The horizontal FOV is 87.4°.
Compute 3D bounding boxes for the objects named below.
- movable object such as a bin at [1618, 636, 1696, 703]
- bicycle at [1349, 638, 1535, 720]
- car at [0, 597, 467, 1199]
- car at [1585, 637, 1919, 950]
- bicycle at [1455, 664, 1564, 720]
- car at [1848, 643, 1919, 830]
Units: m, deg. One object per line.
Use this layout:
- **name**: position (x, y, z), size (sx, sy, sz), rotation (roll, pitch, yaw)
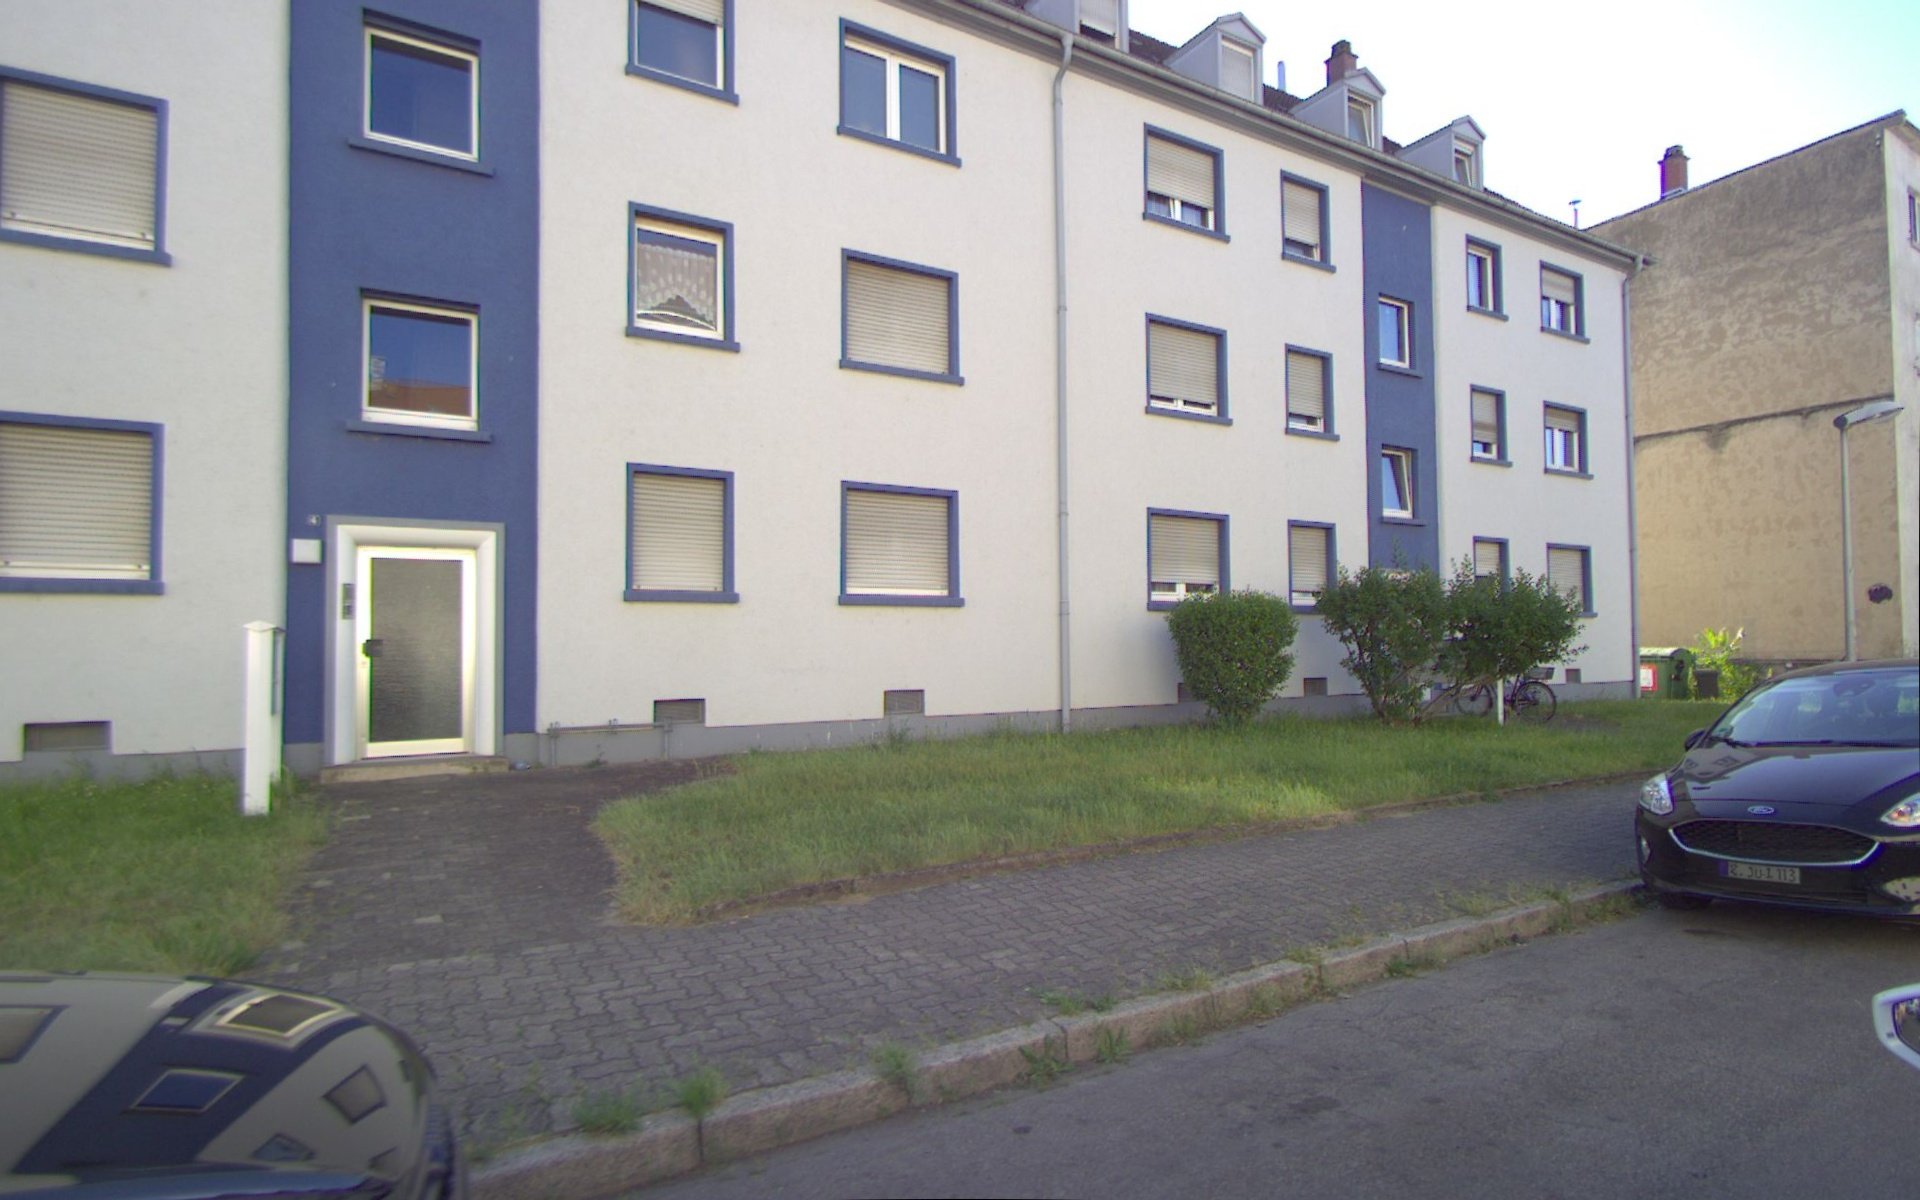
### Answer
- **movable object such as a bin**: position (16.738, 1.671, 24.124), size (1.344, 1.559, 1.062), rotation (2, -5, -34)
- **bicycle**: position (7.722, 1.230, 16.247), size (0.766, 1.145, 2.649), rotation (1, -1, -37)
- **car**: position (-2.927, 0.754, 0.775), size (4.539, 1.449, 1.738), rotation (2, -6, -27)
- **car**: position (5.798, 1.022, 6.294), size (3.829, 1.462, 1.650), rotation (2, -5, -32)
- **bicycle**: position (9.776, 1.643, 17.929), size (0.541, 0.948, 1.640), rotation (2, -5, -29)
- **car**: position (9.835, 1.152, 8.932), size (3.957, 1.534, 1.823), rotation (2, -5, -33)
